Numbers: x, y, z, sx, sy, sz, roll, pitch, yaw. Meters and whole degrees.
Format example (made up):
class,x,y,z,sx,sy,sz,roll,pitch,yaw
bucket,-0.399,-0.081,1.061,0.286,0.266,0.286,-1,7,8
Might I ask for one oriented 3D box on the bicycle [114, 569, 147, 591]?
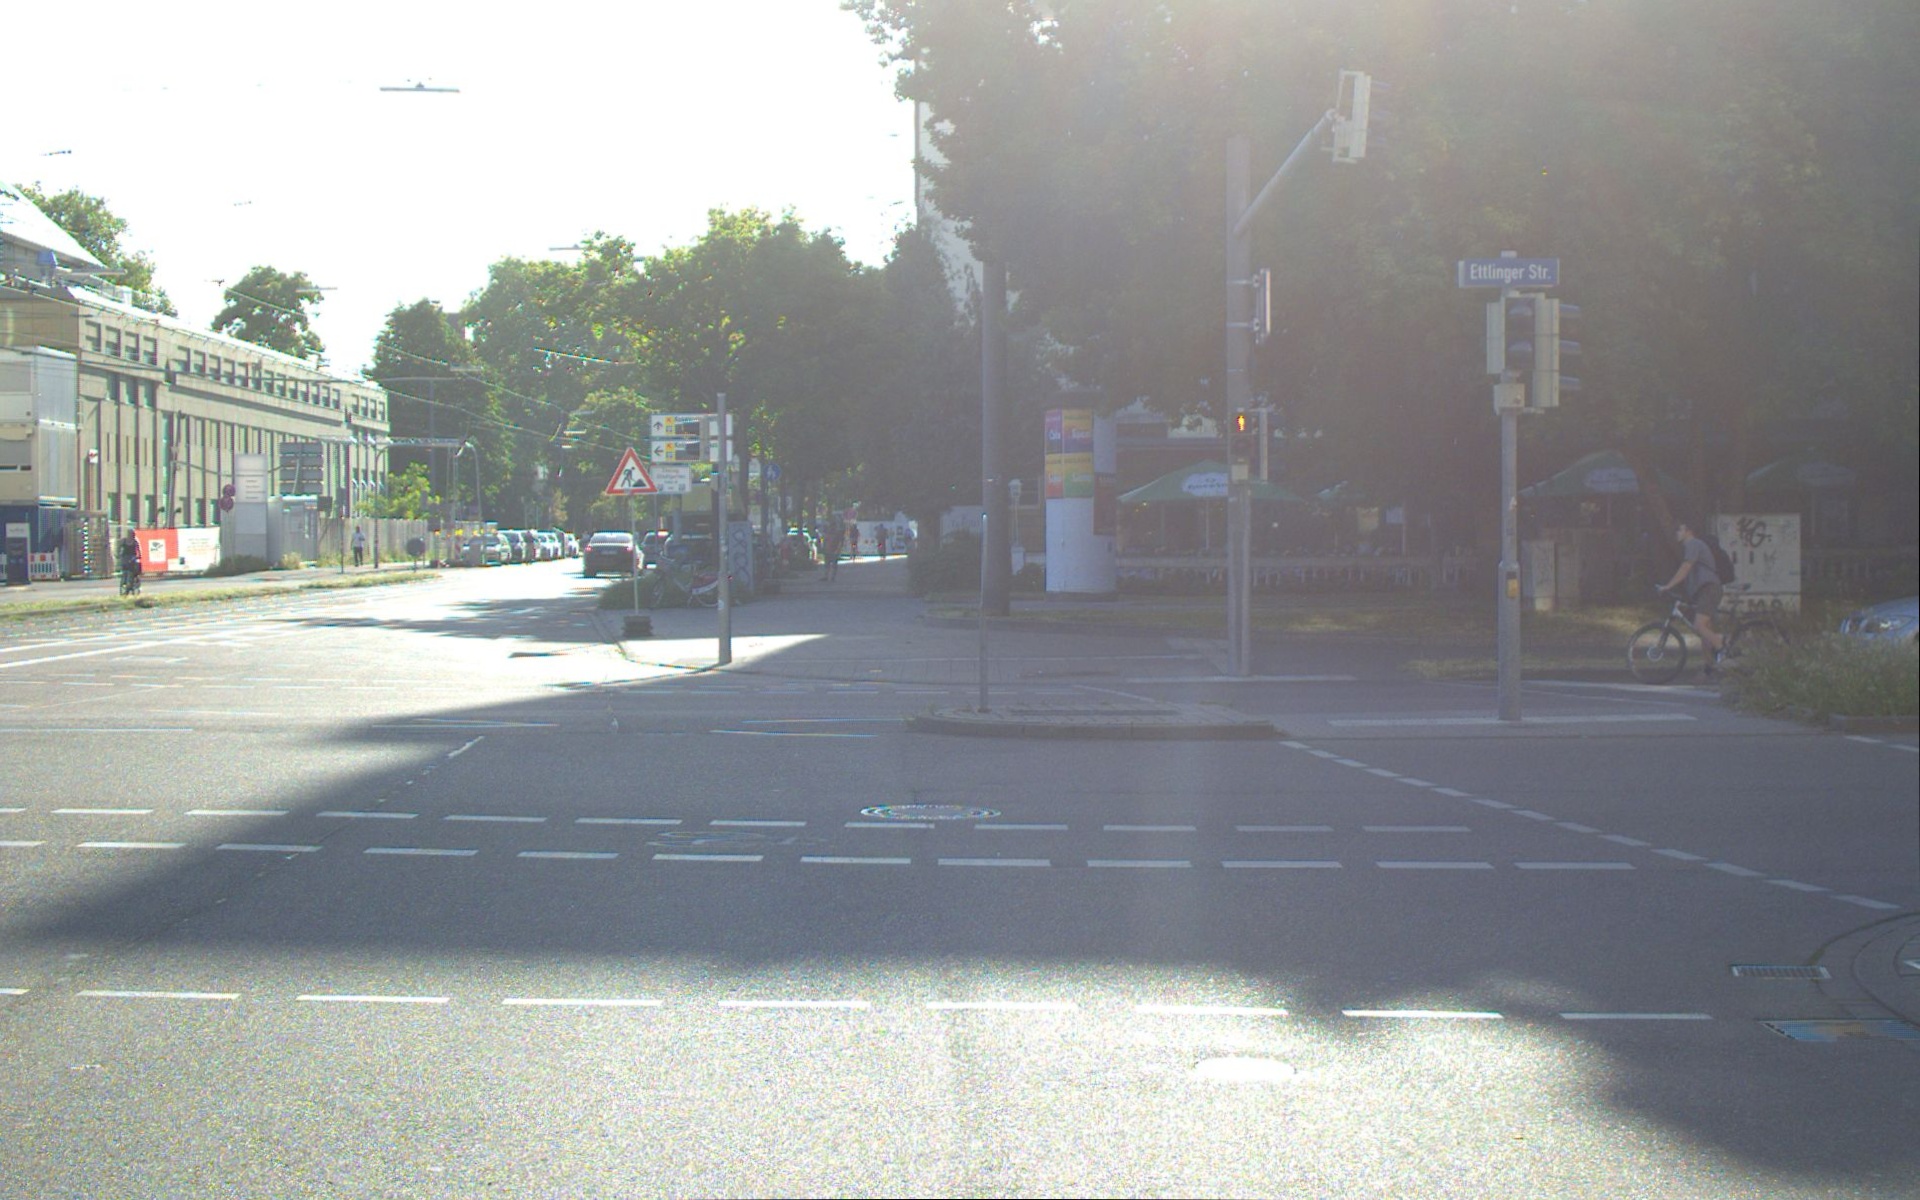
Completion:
class,x,y,z,sx,sy,sz,roll,pitch,yaw
bicycle,-19.512,-0.473,80.881,0.501,0.513,1.258,1,1,-1

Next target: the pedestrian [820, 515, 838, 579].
class,x,y,z,sx,sy,sz,roll,pitch,yaw
pedestrian,-3.729,-1.518,97.705,0.463,1.807,0.503,0,1,-5

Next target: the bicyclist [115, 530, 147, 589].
class,x,y,z,sx,sy,sz,roll,pitch,yaw
bicyclist,-19.510,-0.942,80.894,0.596,1.372,0.638,1,0,-2

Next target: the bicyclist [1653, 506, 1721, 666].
class,x,y,z,sx,sy,sz,roll,pitch,yaw
bicyclist,7.680,-0.151,36.342,0.643,1.677,0.507,0,1,5

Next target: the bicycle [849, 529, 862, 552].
class,x,y,z,sx,sy,sz,roll,pitch,yaw
bicycle,-4.868,-2.778,160.755,0.575,1.073,1.831,0,1,-1

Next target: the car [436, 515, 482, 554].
class,x,y,z,sx,sy,sz,roll,pitch,yaw
car,-22.784,-2.962,156.443,1.692,1.712,4.248,1,1,-4

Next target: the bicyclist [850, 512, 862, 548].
class,x,y,z,sx,sy,sz,roll,pitch,yaw
bicyclist,-4.861,-3.272,160.752,0.569,1.685,0.700,0,1,-1

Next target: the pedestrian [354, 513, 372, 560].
class,x,y,z,sx,sy,sz,roll,pitch,yaw
pedestrian,-25.377,-2.697,146.163,0.674,2.007,0.751,1,0,-3

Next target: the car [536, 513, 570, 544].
class,x,y,z,sx,sy,sz,roll,pitch,yaw
car,-23.027,-4.026,194.689,1.692,1.712,4.248,1,1,-4

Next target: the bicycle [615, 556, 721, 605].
class,x,y,z,sx,sy,sz,roll,pitch,yaw
bicycle,-5.731,-0.382,67.480,2.018,0.888,0.650,-2,0,27

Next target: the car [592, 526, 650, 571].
class,x,y,z,sx,sy,sz,roll,pitch,yaw
car,-11.288,-1.717,114.627,1.660,1.450,4.433,1,1,-2

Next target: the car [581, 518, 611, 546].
class,x,y,z,sx,sy,sz,roll,pitch,yaw
car,-23.050,-4.313,217.634,1.692,1.712,4.248,1,1,-4

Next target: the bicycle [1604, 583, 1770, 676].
class,x,y,z,sx,sy,sz,roll,pitch,yaw
bicycle,7.674,0.312,36.335,1.667,0.960,0.533,0,1,5

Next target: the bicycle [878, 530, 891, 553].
class,x,y,z,sx,sy,sz,roll,pitch,yaw
bicycle,-3.542,-2.765,161.220,0.575,1.073,1.831,0,1,-1

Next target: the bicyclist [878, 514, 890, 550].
class,x,y,z,sx,sy,sz,roll,pitch,yaw
bicyclist,-3.557,-3.205,161.231,0.569,1.685,0.700,0,1,-1

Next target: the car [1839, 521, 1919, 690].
class,x,y,z,sx,sy,sz,roll,pitch,yaw
car,10.757,0.021,33.413,3.993,1.605,1.650,-1,1,-1

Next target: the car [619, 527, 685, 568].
class,x,y,z,sx,sy,sz,roll,pitch,yaw
car,-12.470,-2.154,139.327,1.892,1.560,4.807,3,1,3
